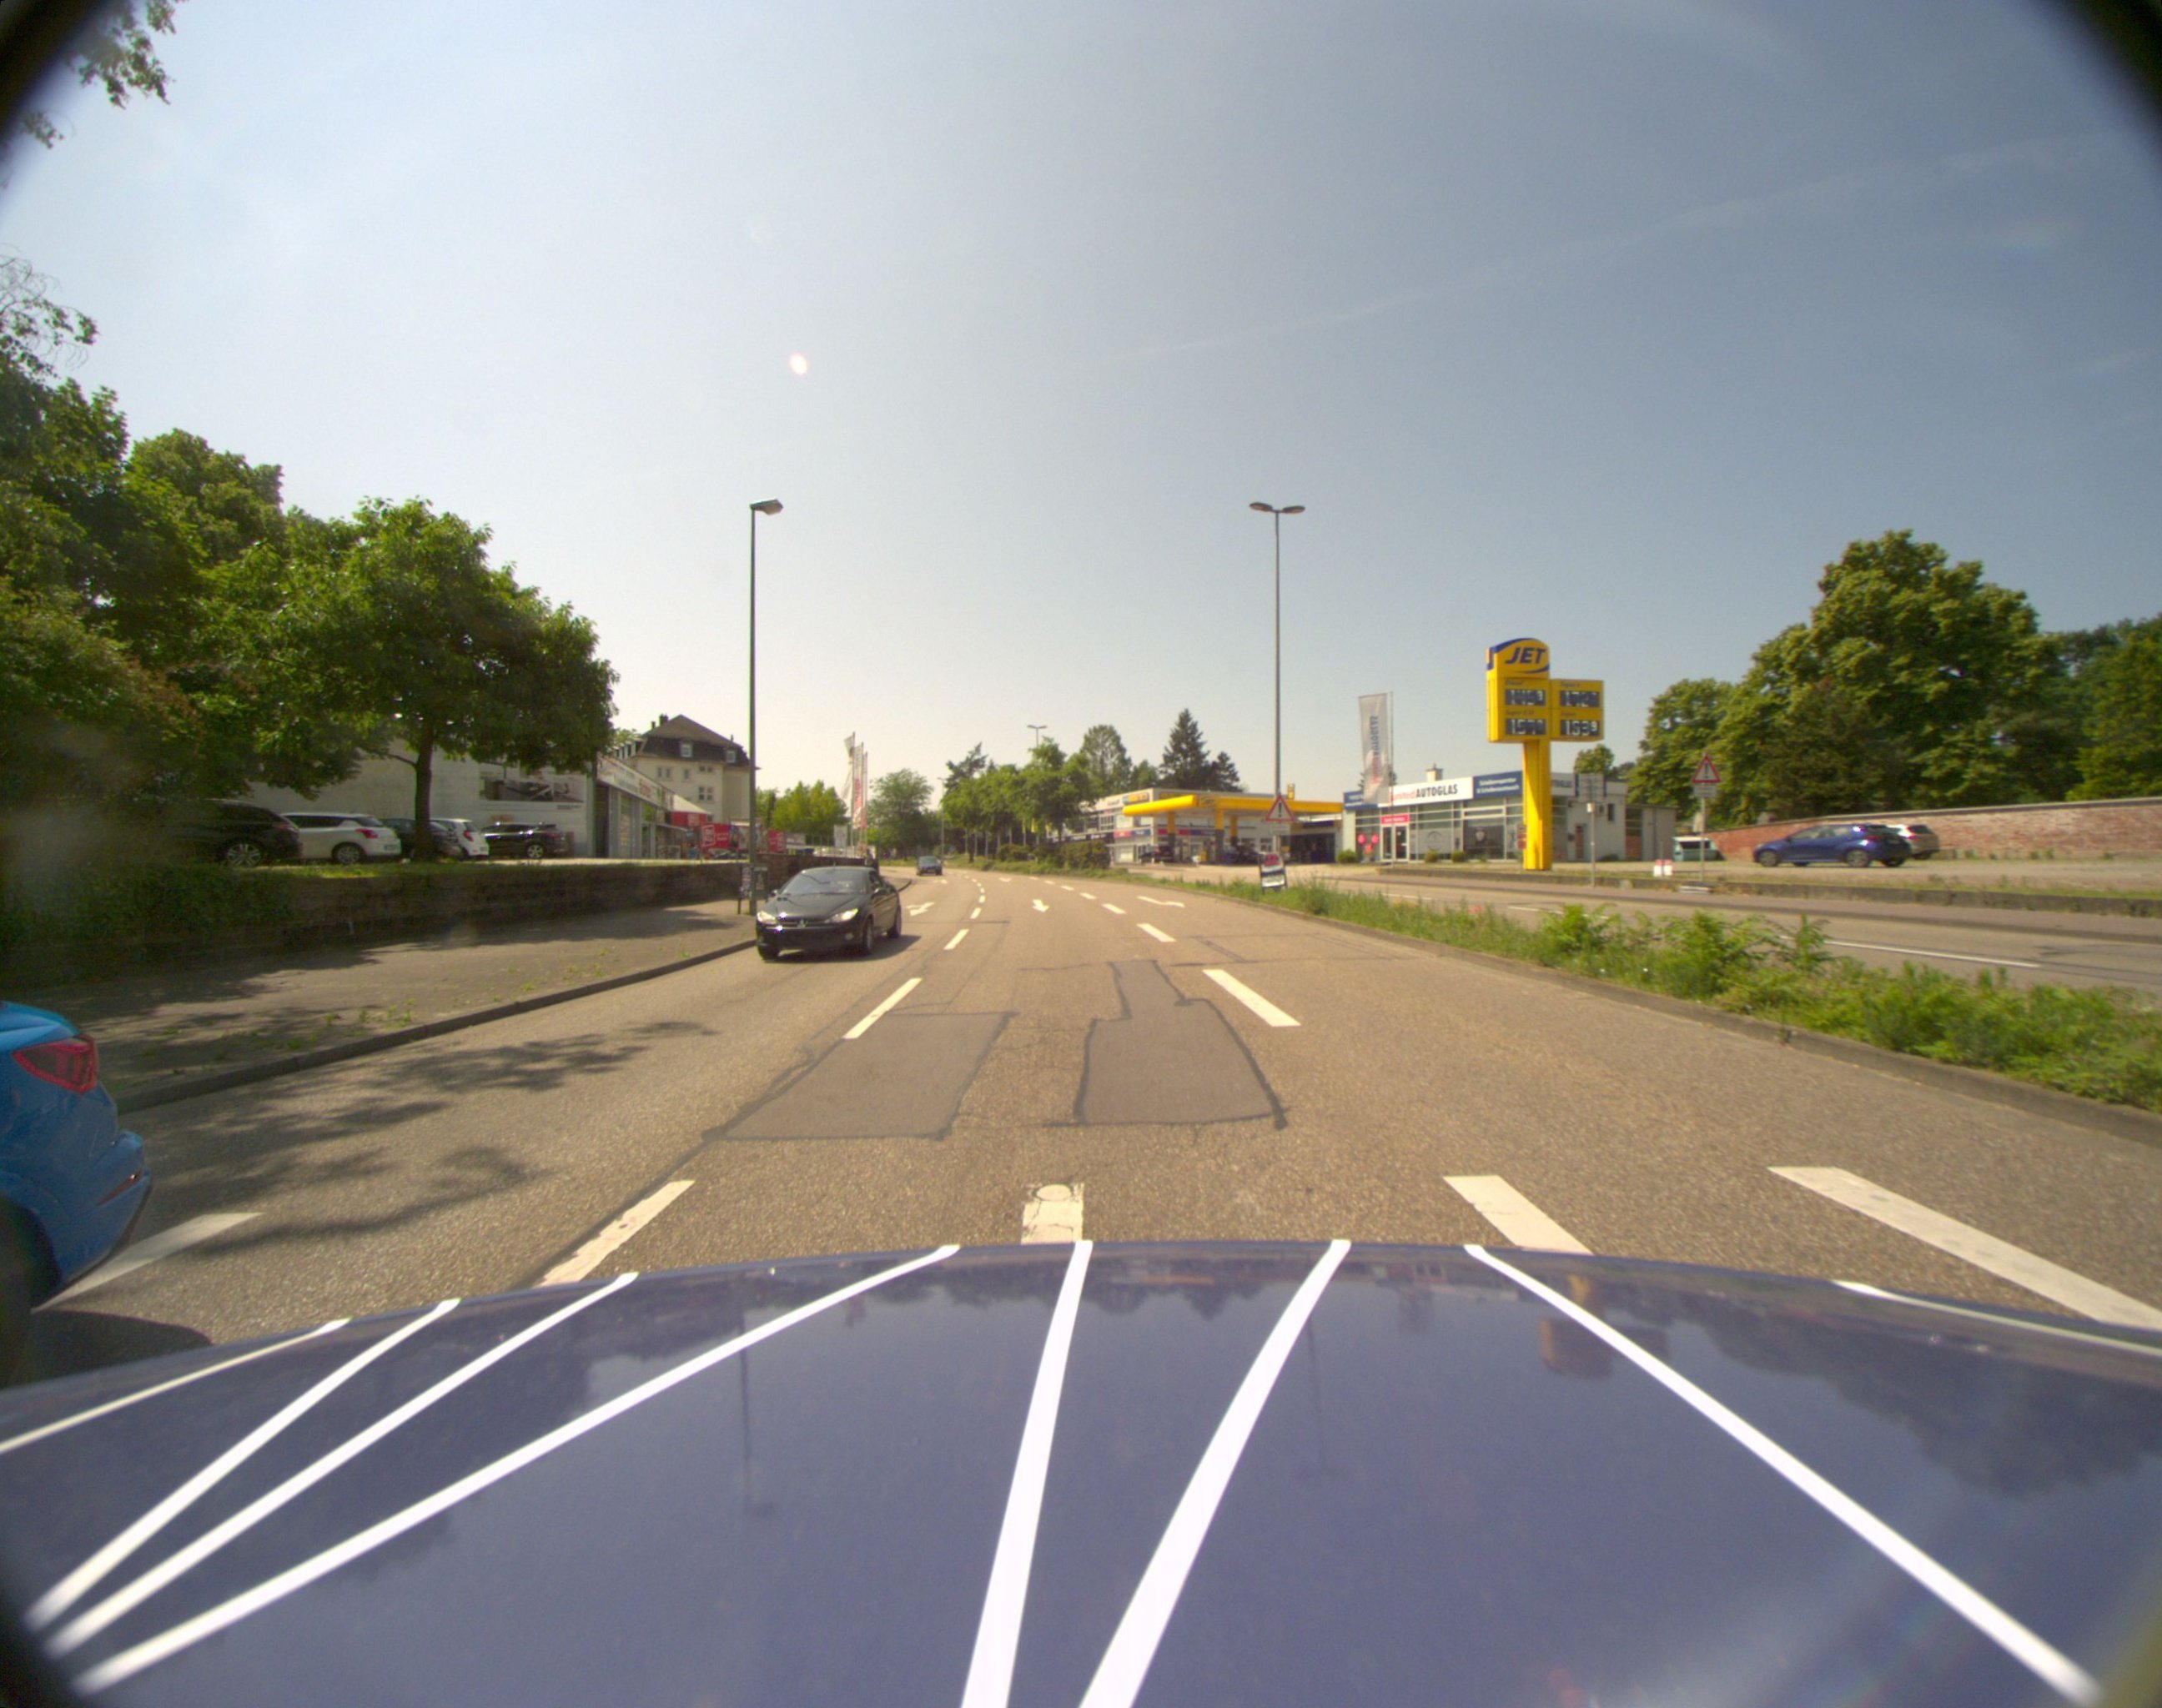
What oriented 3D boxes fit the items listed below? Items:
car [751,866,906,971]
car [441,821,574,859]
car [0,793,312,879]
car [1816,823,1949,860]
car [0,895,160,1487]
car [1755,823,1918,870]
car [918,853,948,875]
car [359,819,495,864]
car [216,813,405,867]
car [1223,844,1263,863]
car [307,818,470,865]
[{"bbox_3d":[-4.059,0.960,12.781,1.604,1.416,3.660,-2,0,-5],"label":"car"},{"bbox_3d":[-23.579,-0.571,31.409,4.004,1.531,1.735,-1,1,-20],"label":"car"},{"bbox_3d":[-18.636,-0.342,15.351,1.995,1.475,3.854,-1,1,25],"label":"car"},{"bbox_3d":[34.719,-0.523,33.040,1.621,1.497,3.626,-1,1,-14],"label":"car"},{"bbox_3d":[-3.952,0.925,0.231,1.917,1.588,4.396,0,0,2],"label":"car"},{"bbox_3d":[25.962,-0.255,26.278,1.695,1.497,3.626,-1,1,-14],"label":"car"},{"bbox_3d":[-10.651,0.698,54.501,1.700,1.366,3.993,0,2,-16],"label":"car"},{"bbox_3d":[-22.235,-0.430,25.961,3.156,1.463,1.501,-1,1,-16],"label":"car"},{"bbox_3d":[-21.015,-0.389,20.881,3.293,1.403,1.528,-1,1,-19],"label":"car"},{"bbox_3d":[14.314,-0.042,67.205,1.658,1.534,4.207,-2,1,-16],"label":"car"},{"bbox_3d":[-21.356,-0.380,23.580,3.324,1.377,1.656,-1,1,-19],"label":"car"}]
